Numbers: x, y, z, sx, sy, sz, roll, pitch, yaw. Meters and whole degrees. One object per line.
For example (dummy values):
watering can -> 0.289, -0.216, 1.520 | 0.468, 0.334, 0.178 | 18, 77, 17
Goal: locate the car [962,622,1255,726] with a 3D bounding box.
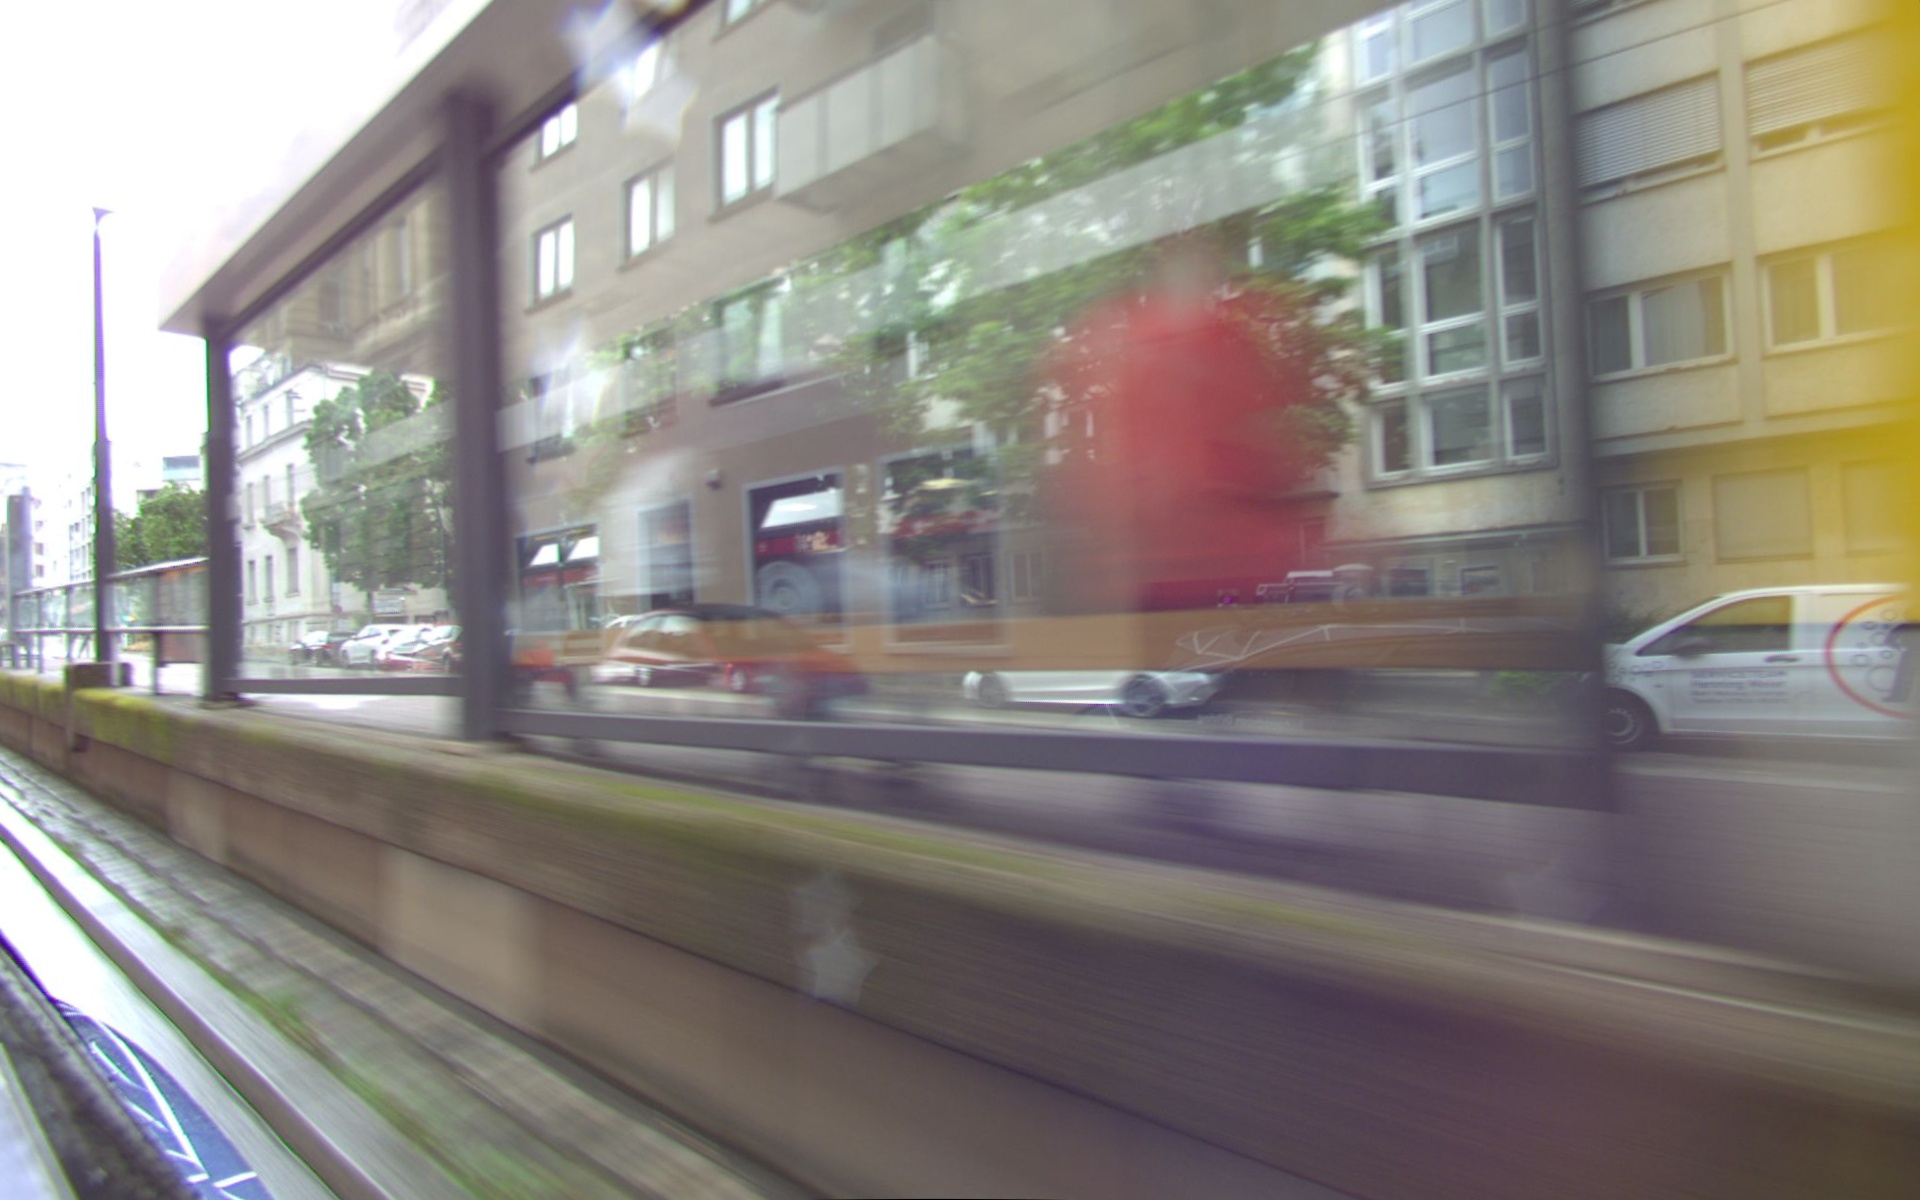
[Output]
car -> 2.320, 1.109, 16.539 | 4.524, 1.473, 1.676 | -1, -1, 38

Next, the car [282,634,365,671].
car -> -25.610, 2.063, 40.647 | 4.456, 1.386, 1.695 | -2, -2, 42

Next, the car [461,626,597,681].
car -> -12.441, 1.493, 29.072 | 4.725, 1.451, 1.622 | -1, -1, 40

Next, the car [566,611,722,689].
car -> -8.071, 1.221, 25.678 | 4.428, 1.831, 1.657 | -1, -2, 40

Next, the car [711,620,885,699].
car -> -3.565, 1.235, 21.938 | 3.800, 1.551, 1.622 | -1, -2, 40

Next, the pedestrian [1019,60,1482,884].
pedestrian -> 0.616, -0.198, 2.108 | 0.700, 1.312, 0.721 | -1, -2, 38

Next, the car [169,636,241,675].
car -> -31.428, 2.277, 42.114 | 3.962, 1.473, 1.621 | -1, -2, 41

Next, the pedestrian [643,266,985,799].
pedestrian -> -0.419, -0.158, 2.990 | 0.700, 1.312, 0.721 | -1, -2, 38

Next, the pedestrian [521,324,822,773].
pedestrian -> -0.973, -0.141, 3.451 | 0.700, 1.312, 0.720 | -2, -2, 40

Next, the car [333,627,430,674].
car -> -21.085, 1.804, 36.813 | 4.334, 1.596, 1.641 | -1, -1, 39

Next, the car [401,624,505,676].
car -> -16.417, 1.568, 32.677 | 4.020, 1.549, 1.621 | -1, -2, 41

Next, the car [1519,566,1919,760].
car -> 9.154, 0.628, 10.929 | 5.248, 1.858, 1.889 | -1, -1, 37

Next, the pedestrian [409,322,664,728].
pedestrian -> -2.030, -0.310, 4.896 | 0.700, 1.737, 0.907 | -1, -2, 38
